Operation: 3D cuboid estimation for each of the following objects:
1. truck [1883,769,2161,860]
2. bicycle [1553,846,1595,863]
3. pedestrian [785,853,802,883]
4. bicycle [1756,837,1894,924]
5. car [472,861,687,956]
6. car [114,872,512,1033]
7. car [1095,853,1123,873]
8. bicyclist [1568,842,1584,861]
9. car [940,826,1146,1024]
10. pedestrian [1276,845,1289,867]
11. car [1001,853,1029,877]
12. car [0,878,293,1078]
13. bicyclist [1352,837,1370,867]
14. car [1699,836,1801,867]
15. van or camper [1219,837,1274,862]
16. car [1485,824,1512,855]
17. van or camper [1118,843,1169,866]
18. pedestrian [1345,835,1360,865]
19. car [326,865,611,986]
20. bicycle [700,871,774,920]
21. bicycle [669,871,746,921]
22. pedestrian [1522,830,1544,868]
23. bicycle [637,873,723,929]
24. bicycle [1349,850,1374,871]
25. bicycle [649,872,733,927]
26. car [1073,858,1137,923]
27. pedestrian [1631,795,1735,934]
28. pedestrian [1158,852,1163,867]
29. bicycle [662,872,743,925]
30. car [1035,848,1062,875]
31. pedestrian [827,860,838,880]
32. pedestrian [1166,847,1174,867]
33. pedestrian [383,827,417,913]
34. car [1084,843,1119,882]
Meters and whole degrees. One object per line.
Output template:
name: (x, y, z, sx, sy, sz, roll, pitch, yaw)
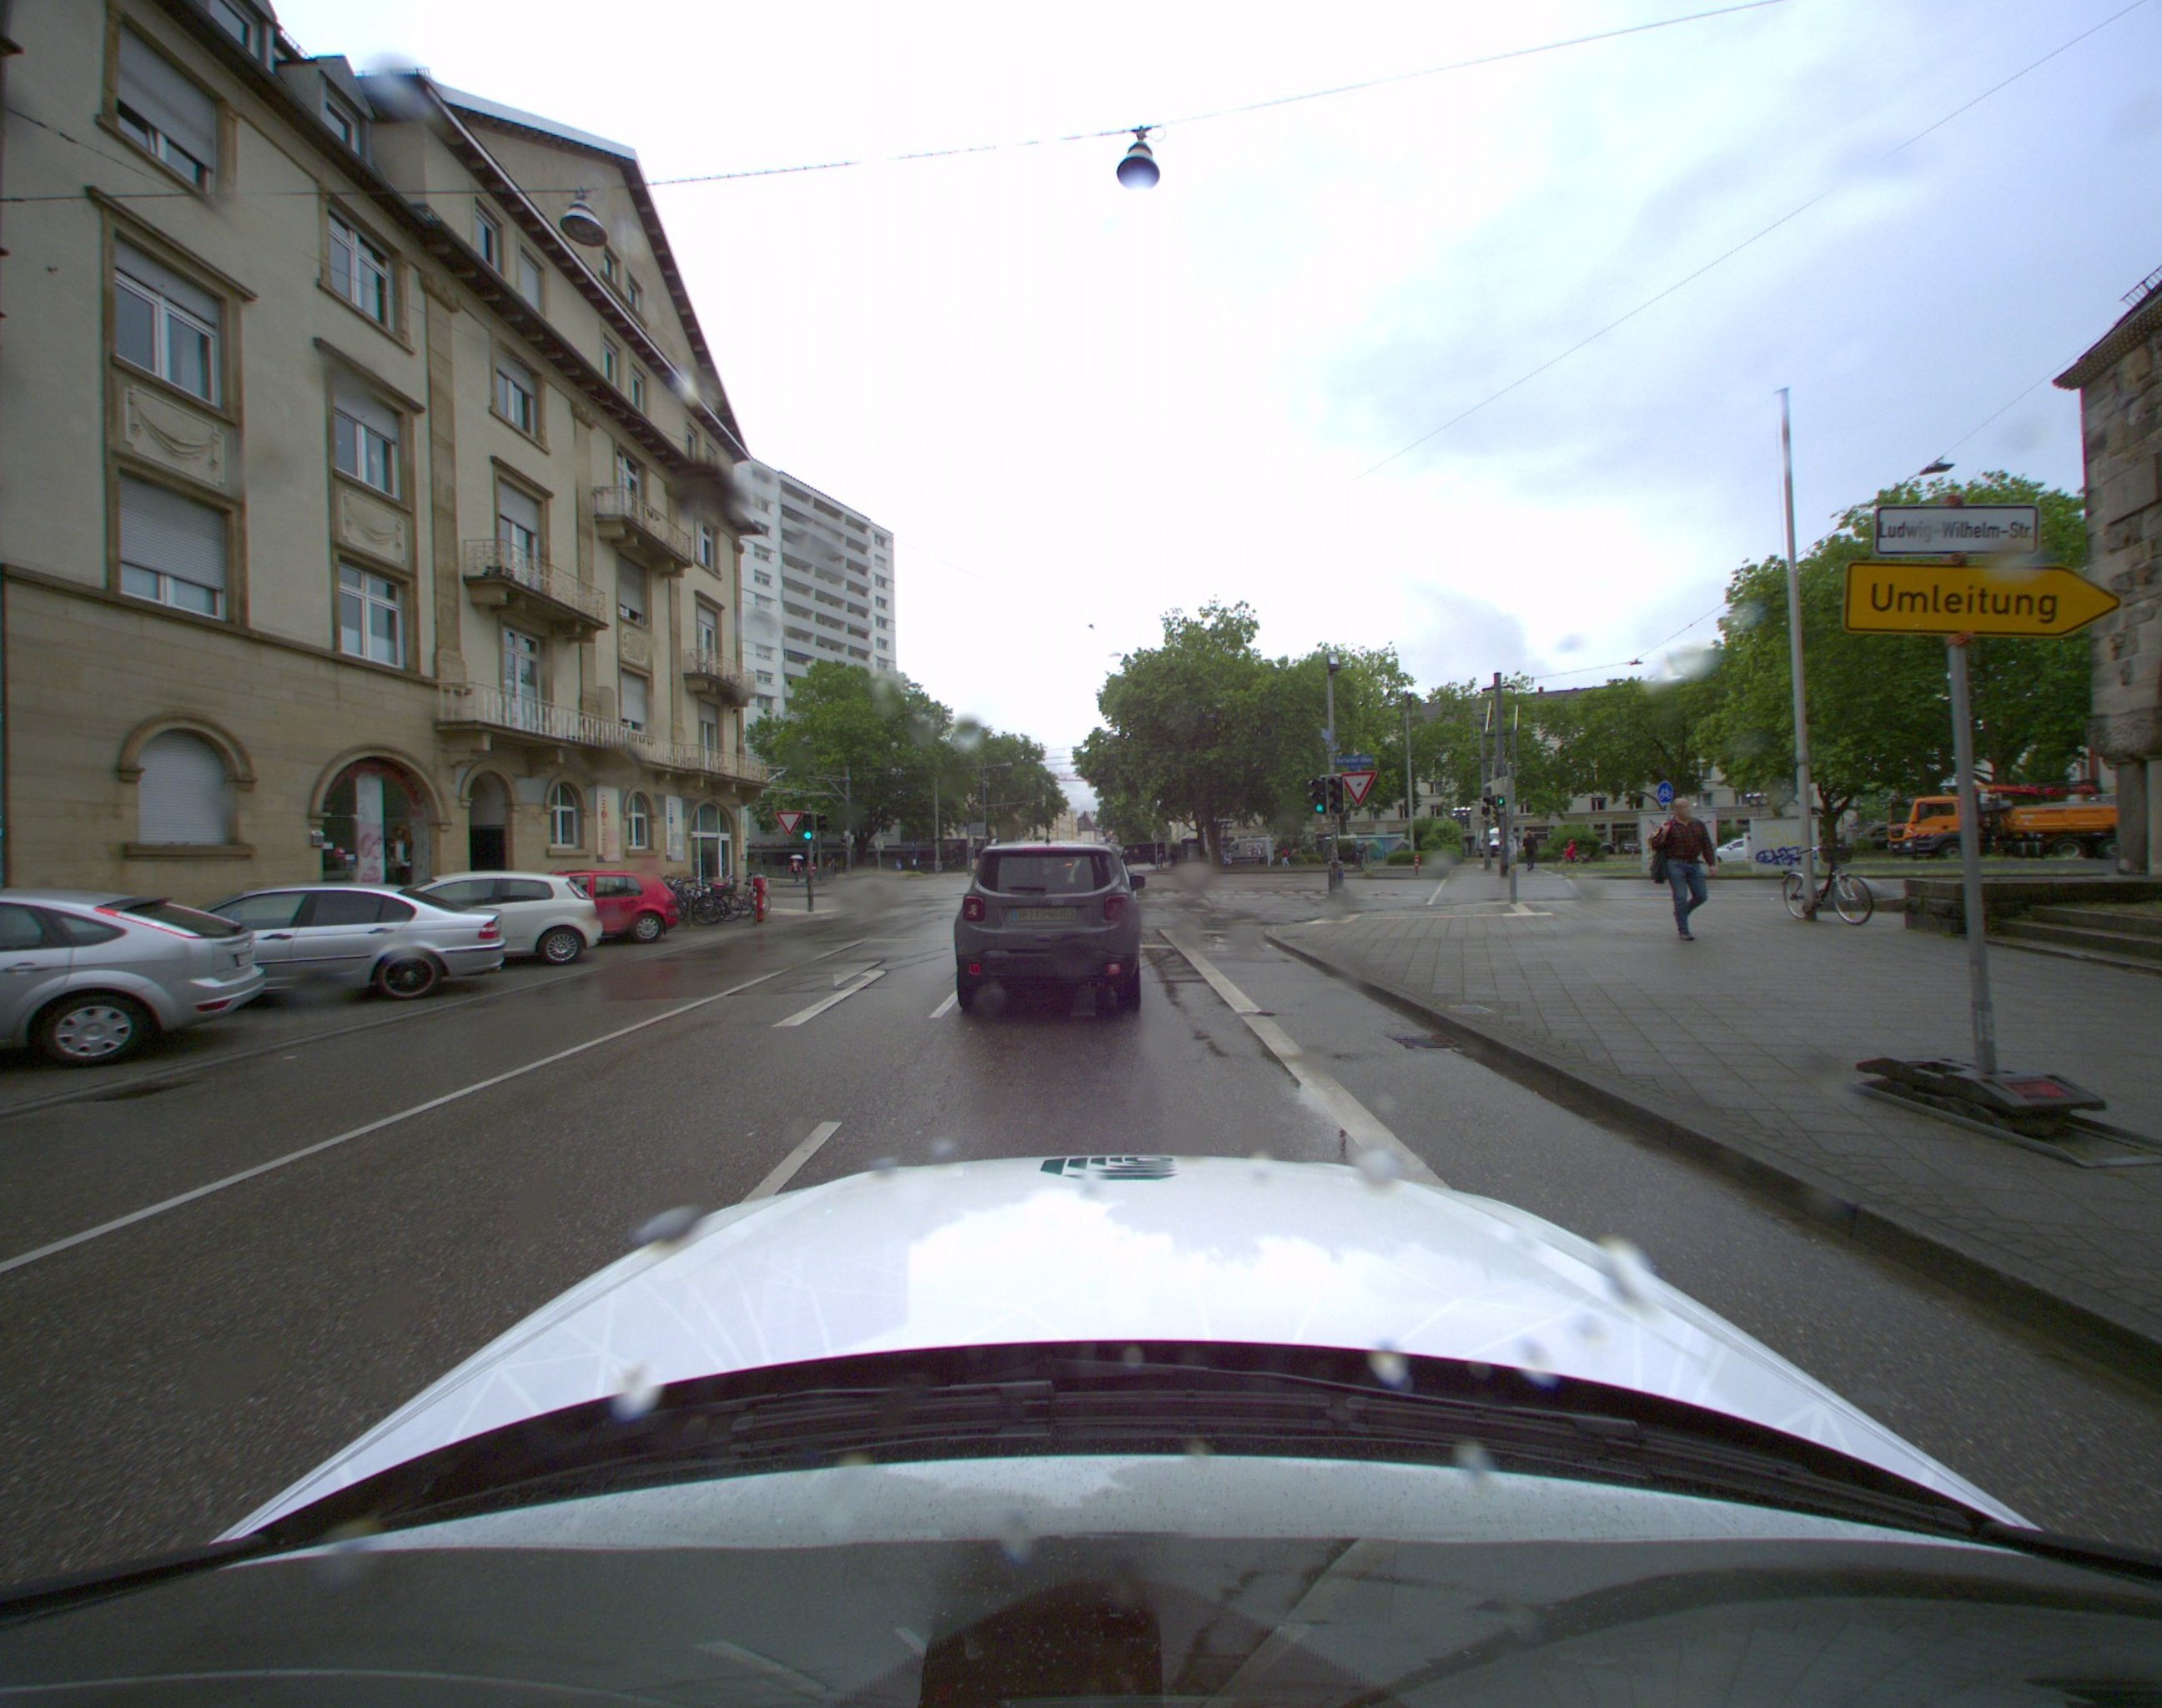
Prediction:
truck: (41.748, -1.636, 36.167, 8.333, 3.524, 2.391, -2, 0, 25)
bicycle: (28.028, 0.038, 46.327, 1.948, 0.911, 0.563, -2, 0, 26)
pedestrian: (-18.058, 0.882, 51.156, 0.614, 1.826, 0.697, -3, 0, 15)
bicycle: (10.783, 0.348, 11.896, 0.327, 1.154, 2.079, -2, 0, 8)
car: (-9.789, 0.976, 15.975, 3.419, 1.558, 1.686, -2, 0, -37)
car: (-9.357, 1.084, 10.334, 3.419, 1.558, 1.686, -2, 0, -37)
car: (1.815, 0.575, 53.737, 1.588, 1.252, 3.572, -2, 0, -2)
bicyclist: (28.125, -0.150, 46.271, 0.673, 1.026, 0.563, -2, 0, 26)
car: (-0.290, 0.632, 9.215, 1.768, 1.687, 3.849, -3, 0, 1)
pedestrian: (14.243, 0.131, 57.436, 0.667, 1.554, 0.766, -2, -2, 30)
car: (-4.800, 0.761, 59.939, 1.809, 1.670, 3.917, -2, 0, -2)
car: (-9.475, 1.066, 7.171, 3.419, 1.558, 1.686, -2, 0, -37)
bicyclist: (15.354, -0.111, 44.646, 0.680, 1.617, 0.889, -3, 0, 32)
car: (33.045, -0.137, 40.333, 3.528, 1.387, 1.638, -2, 0, 24)
van or camper: (16.570, -0.471, 81.723, 5.233, 2.315, 2.093, -1, 0, 5)
car: (35.935, -1.239, 70.104, 1.889, 2.555, 4.815, -2, 0, 26)
van or camper: (8.563, 0.127, 112.140, 6.464, 2.912, 2.510, -2, 0, 28)
pedestrian: (18.485, -0.294, 55.441, 0.798, 2.013, 0.593, -2, 0, 29)
car: (-9.618, 1.021, 13.027, 3.419, 1.558, 1.686, -2, 0, -37)
bicycle: (-9.662, 1.160, 22.916, 1.757, 1.266, 0.608, -2, 0, 0)
bicycle: (-10.103, 1.132, 22.048, 1.757, 1.266, 0.608, -2, 0, 0)
pedestrian: (20.191, -0.218, 36.404, 0.775, 1.645, 0.659, -3, 0, 26)
bicycle: (-9.726, 1.134, 19.776, 1.757, 1.266, 0.522, -2, 0, 0)
bicycle: (15.419, 0.333, 44.721, 0.685, 1.021, 2.675, -3, 0, 32)
bicycle: (-9.722, 1.126, 20.324, 1.804, 1.266, 0.498, -2, 0, 0)
car: (0.589, 0.809, 19.598, 1.358, 1.376, 3.314, -2, 0, 2)
pedestrian: (8.033, 0.136, 10.912, 0.779, 1.759, 0.950, -3, 0, 17)
pedestrian: (9.076, 0.644, 93.188, 0.456, 1.703, 0.424, -2, 0, 3)
bicycle: (-9.765, 1.135, 21.011, 1.804, 1.266, 0.498, -2, 0, 0)
car: (-2.208, 0.511, 55.567, 1.717, 1.739, 3.727, -2, 0, -2)
pedestrian: (-19.482, 1.264, 63.808, 0.438, 1.530, 0.647, -2, 0, 28)
pedestrian: (8.747, 0.303, 79.951, 0.646, 2.013, 0.484, -2, 0, 14)
pedestrian: (-14.618, 0.343, 17.488, 0.365, 1.822, 0.347, -3, -1, 0)
car: (1.152, 0.443, 45.216, 1.763, 2.013, 4.002, -2, 0, 2)
